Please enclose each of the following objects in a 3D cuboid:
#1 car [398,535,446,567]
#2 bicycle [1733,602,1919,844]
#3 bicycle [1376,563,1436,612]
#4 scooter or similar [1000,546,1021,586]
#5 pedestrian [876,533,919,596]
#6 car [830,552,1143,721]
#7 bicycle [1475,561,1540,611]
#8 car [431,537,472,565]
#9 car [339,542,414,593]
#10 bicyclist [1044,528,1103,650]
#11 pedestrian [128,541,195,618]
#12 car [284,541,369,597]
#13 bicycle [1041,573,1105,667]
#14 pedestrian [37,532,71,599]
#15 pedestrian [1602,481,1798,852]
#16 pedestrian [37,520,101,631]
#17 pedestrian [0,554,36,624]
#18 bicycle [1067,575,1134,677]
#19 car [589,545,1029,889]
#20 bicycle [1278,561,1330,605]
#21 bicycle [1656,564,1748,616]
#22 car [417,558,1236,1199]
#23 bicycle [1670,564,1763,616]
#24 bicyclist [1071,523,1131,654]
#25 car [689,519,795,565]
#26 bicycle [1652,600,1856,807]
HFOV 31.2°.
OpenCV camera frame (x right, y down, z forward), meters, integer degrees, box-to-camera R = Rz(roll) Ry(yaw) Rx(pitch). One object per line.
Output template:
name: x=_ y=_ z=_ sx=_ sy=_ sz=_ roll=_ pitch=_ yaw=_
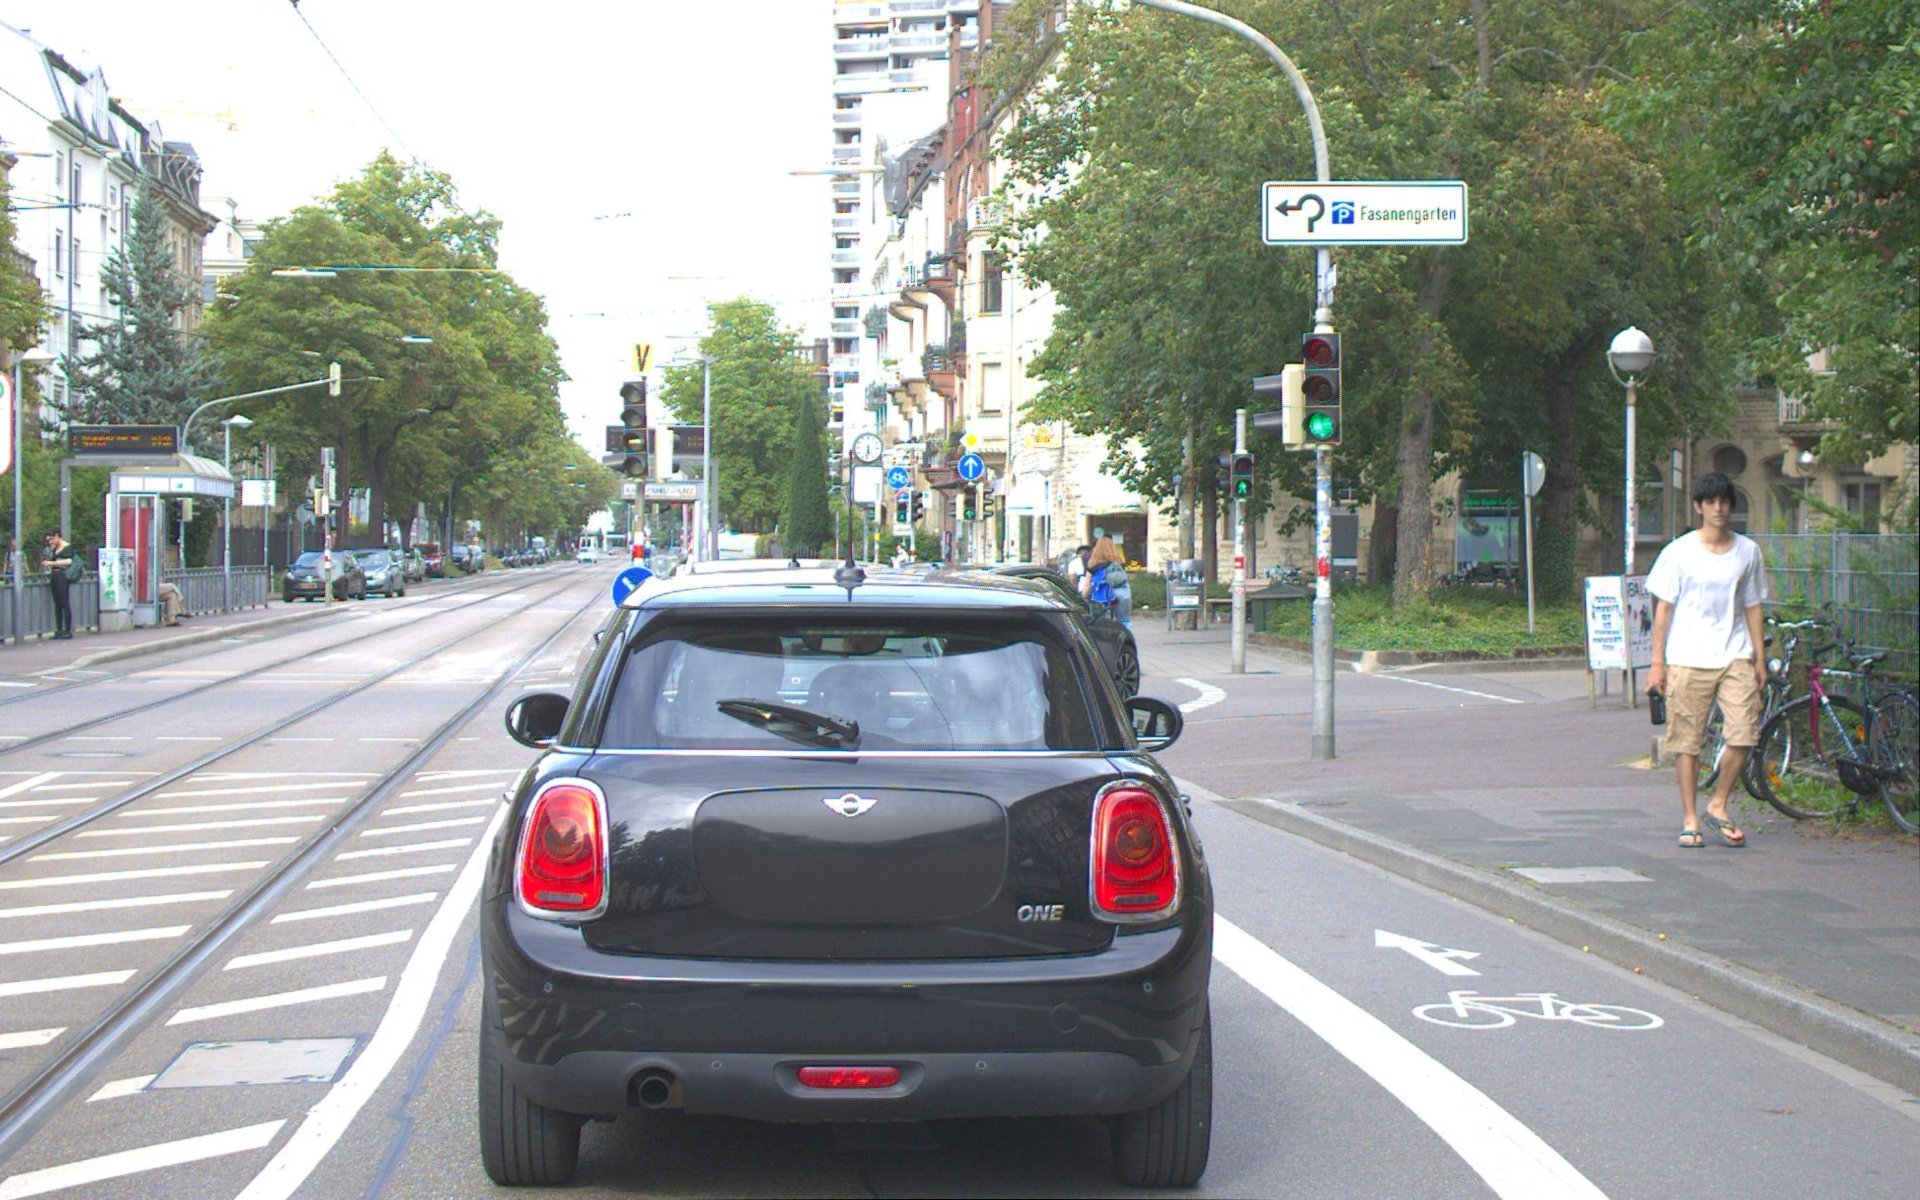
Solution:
car: x=-26.144 y=-2.399 z=167.031 sx=1.993 sy=1.546 sz=4.001 roll=0 pitch=1 yaw=-4
bicycle: x=4.350 y=0.585 z=17.081 sx=0.508 sy=1.085 sz=1.550 roll=-3 pitch=1 yaw=-4
bicycle: x=10.545 y=-0.305 z=81.299 sx=0.532 sy=1.124 sz=1.889 roll=1 pitch=1 yaw=38
scooter or similar: x=1.517 y=-1.023 z=103.042 sx=0.508 sy=1.184 sz=1.262 roll=0 pitch=1 yaw=-4
pedestrian: x=-1.702 y=-0.959 z=93.752 sx=0.732 sy=1.668 sz=0.833 roll=-2 pitch=2 yaw=42
car: x=0.332 y=0.284 z=32.034 sx=1.753 sy=1.436 sz=4.476 roll=1 pitch=1 yaw=16
bicycle: x=12.659 y=-0.337 z=79.430 sx=0.667 sy=1.124 sz=1.889 roll=1 pitch=1 yaw=38
car: x=-28.084 y=-2.715 z=189.923 sx=1.993 sy=1.546 sz=4.001 roll=0 pitch=1 yaw=-4
car: x=-17.668 y=-1.002 z=104.192 sx=1.751 sy=1.436 sz=4.001 roll=2 pitch=1 yaw=-3
bicyclist: x=1.459 y=-0.155 z=44.481 sx=0.684 sy=1.558 sz=0.998 roll=0 pitch=1 yaw=-3
pedestrian: x=-13.574 y=-0.352 z=58.476 sx=1.058 sy=1.289 sz=0.986 roll=0 pitch=1 yaw=-10
car: x=-17.428 y=-0.871 z=94.661 sx=1.751 sy=1.436 sz=4.001 roll=2 pitch=1 yaw=-3
bicycle: x=1.457 y=0.244 z=44.542 sx=0.684 sy=1.166 sz=1.697 roll=0 pitch=1 yaw=-3
pedestrian: x=-23.323 y=-0.902 z=88.495 sx=0.694 sy=1.713 sz=0.758 roll=0 pitch=1 yaw=-3
pedestrian: x=3.577 y=0.303 z=16.687 sx=0.730 sy=1.748 sz=0.950 roll=0 pitch=1 yaw=0
pedestrian: x=-13.088 y=-0.369 z=50.512 sx=0.851 sy=1.615 sz=0.843 roll=0 pitch=1 yaw=-10
pedestrian: x=-22.979 y=-0.267 z=83.802 sx=0.832 sy=1.697 sz=0.733 roll=0 pitch=1 yaw=-10
bicycle: x=1.679 y=0.295 z=41.184 sx=0.598 sy=1.166 sz=1.697 roll=0 pitch=1 yaw=-4
car: x=-0.768 y=0.484 z=17.104 sx=1.926 sy=1.504 sz=4.001 roll=0 pitch=1 yaw=-3
bicycle: x=8.390 y=-0.414 z=83.811 sx=0.449 sy=1.051 sz=1.646 roll=1 pitch=1 yaw=38
bicycle: x=16.242 y=-0.223 z=75.270 sx=1.887 sy=1.124 sz=0.563 roll=0 pitch=1 yaw=-13
car: x=-0.327 y=0.620 z=9.382 sx=1.751 sy=1.436 sz=4.000 roll=0 pitch=1 yaw=-1
bicycle: x=16.431 y=-0.213 z=74.696 sx=1.887 sy=1.124 sz=0.599 roll=0 pitch=1 yaw=-13
bicyclist: x=1.681 y=-0.150 z=41.173 sx=0.594 sy=1.545 sz=1.014 roll=0 pitch=1 yaw=-4
car: x=-11.016 y=-2.924 z=173.719 sx=5.026 sy=2.265 sz=2.395 roll=-1 pitch=1 yaw=-45
bicycle: x=4.555 y=0.572 z=19.826 sx=0.671 sy=1.102 sz=1.672 roll=0 pitch=1 yaw=-4
